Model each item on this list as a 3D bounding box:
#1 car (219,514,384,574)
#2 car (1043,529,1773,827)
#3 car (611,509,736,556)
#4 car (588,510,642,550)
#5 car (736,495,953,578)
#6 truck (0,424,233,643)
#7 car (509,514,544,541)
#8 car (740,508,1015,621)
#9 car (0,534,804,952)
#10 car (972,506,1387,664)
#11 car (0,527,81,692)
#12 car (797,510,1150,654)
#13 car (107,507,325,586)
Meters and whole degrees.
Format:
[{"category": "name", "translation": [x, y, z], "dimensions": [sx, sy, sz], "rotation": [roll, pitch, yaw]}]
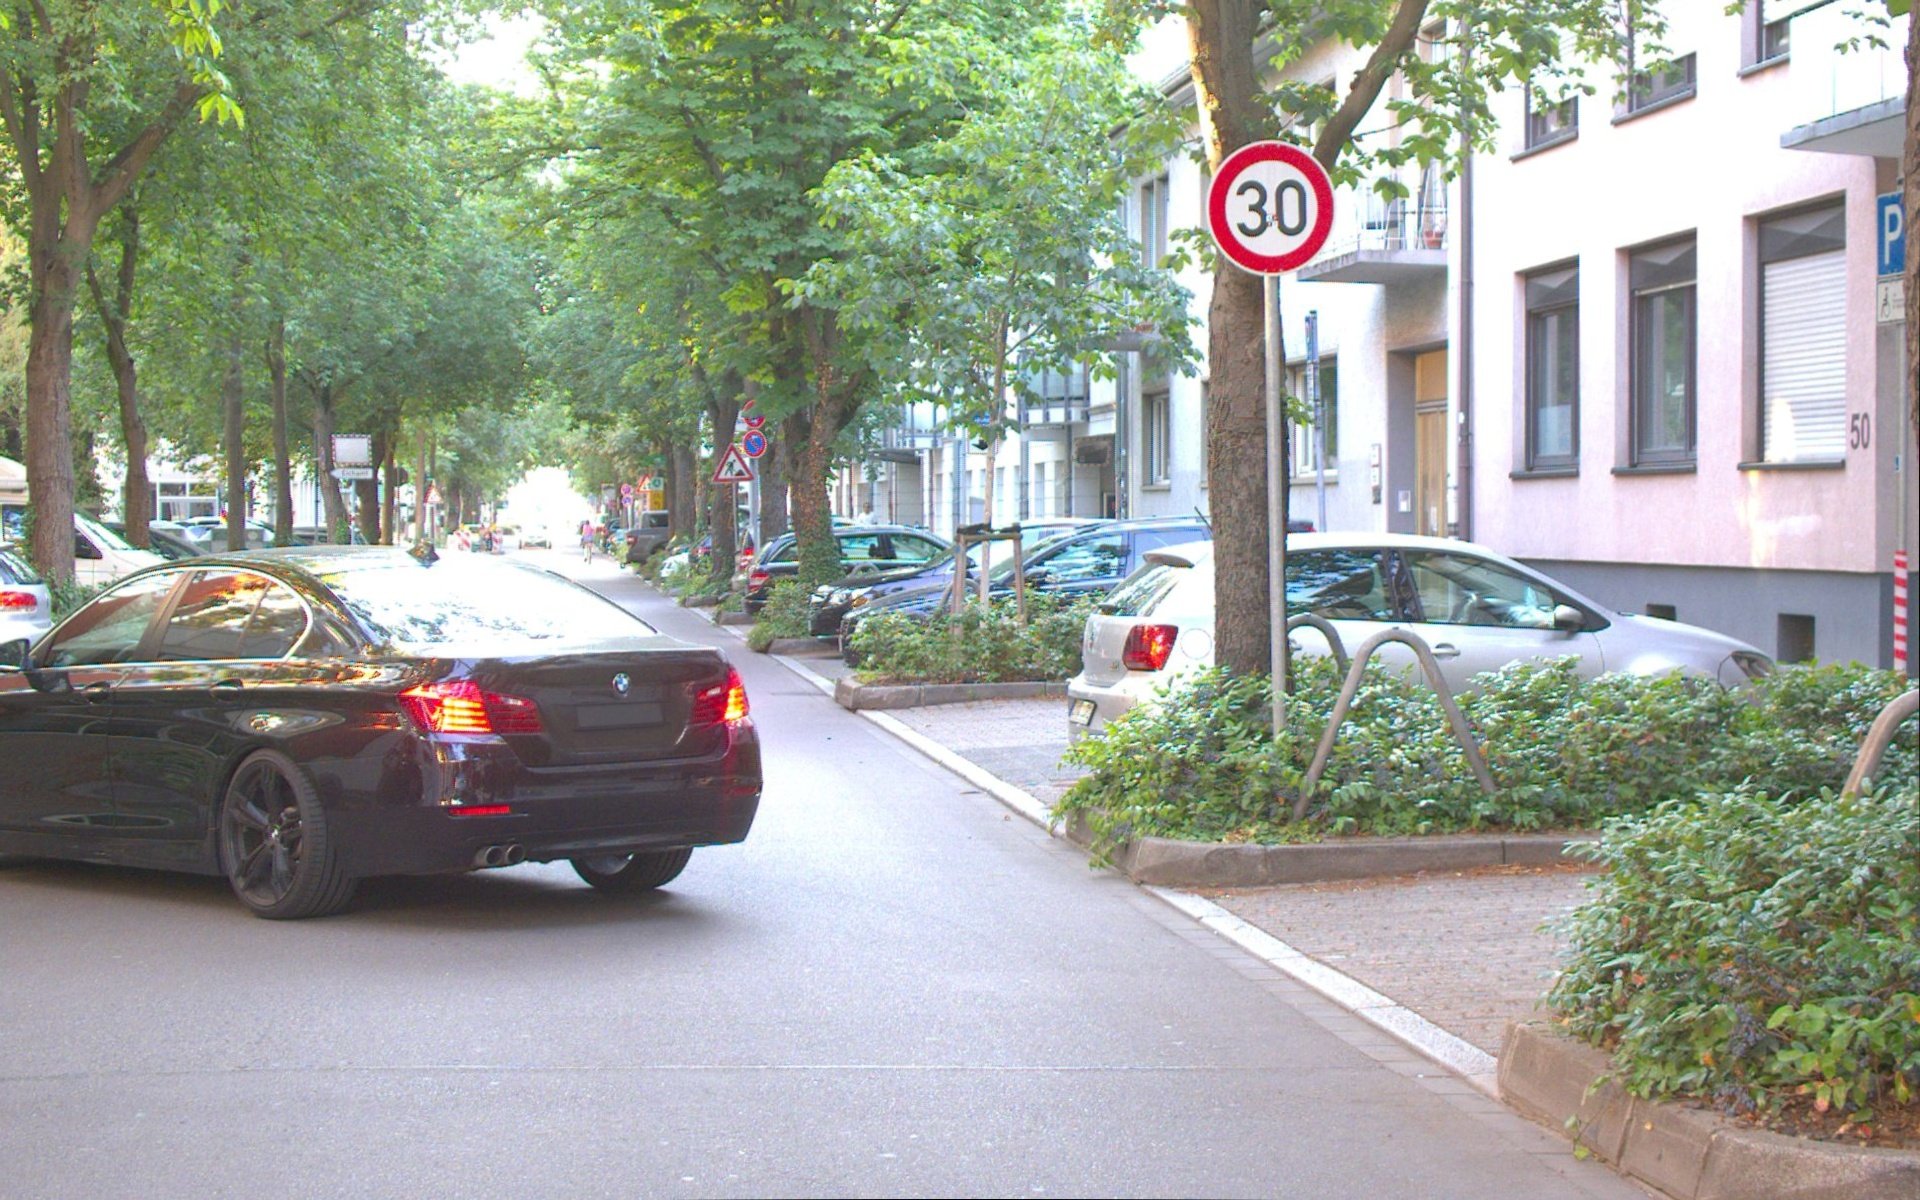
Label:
[{"category": "car", "translation": [-16.811, -1.436, 87.933], "dimensions": [4.020, 1.466, 1.641], "rotation": [1, 1, -7]}, {"category": "car", "translation": [2.399, 0.382, 18.818], "dimensions": [3.656, 1.474, 1.566], "rotation": [-1, 2, -8]}, {"category": "car", "translation": [-8.647, -2.027, 103.520], "dimensions": [3.656, 1.388, 1.566], "rotation": [0, 1, -8]}, {"category": "car", "translation": [-13.466, -2.740, 134.002], "dimensions": [1.993, 1.546, 4.001], "rotation": [0, 2, -7]}, {"category": "car", "translation": [-2.061, -1.133, 60.911], "dimensions": [3.656, 1.388, 1.566], "rotation": [-1, 2, -8]}, {"category": "truck", "translation": [-11.051, -0.809, 39.662], "dimensions": [4.998, 2.432, 1.916], "rotation": [1, 2, -5]}, {"category": "car", "translation": [-24.424, -4.093, 193.807], "dimensions": [1.894, 1.470, 4.001], "rotation": [0, 2, -6]}, {"category": "car", "translation": [-1.169, -0.501, 47.739], "dimensions": [3.656, 1.531, 1.566], "rotation": [0, 1, -8]}, {"category": "car", "translation": [-2.872, 0.462, 14.444], "dimensions": [1.763, 1.445, 4.665], "rotation": [-1, 2, -45]}, {"category": "car", "translation": [2.048, -0.165, 32.550], "dimensions": [3.656, 1.388, 1.566], "rotation": [-1, 2, -8]}, {"category": "car", "translation": [-10.283, 0.049, 31.487], "dimensions": [4.131, 1.466, 1.641], "rotation": [1, 1, -7]}, {"category": "car", "translation": [0.133, -0.224, 38.998], "dimensions": [3.791, 1.524, 1.566], "rotation": [-1, 2, -8]}, {"category": "car", "translation": [-14.535, -1.048, 67.355], "dimensions": [4.020, 1.466, 1.641], "rotation": [1, 1, -7]}]
